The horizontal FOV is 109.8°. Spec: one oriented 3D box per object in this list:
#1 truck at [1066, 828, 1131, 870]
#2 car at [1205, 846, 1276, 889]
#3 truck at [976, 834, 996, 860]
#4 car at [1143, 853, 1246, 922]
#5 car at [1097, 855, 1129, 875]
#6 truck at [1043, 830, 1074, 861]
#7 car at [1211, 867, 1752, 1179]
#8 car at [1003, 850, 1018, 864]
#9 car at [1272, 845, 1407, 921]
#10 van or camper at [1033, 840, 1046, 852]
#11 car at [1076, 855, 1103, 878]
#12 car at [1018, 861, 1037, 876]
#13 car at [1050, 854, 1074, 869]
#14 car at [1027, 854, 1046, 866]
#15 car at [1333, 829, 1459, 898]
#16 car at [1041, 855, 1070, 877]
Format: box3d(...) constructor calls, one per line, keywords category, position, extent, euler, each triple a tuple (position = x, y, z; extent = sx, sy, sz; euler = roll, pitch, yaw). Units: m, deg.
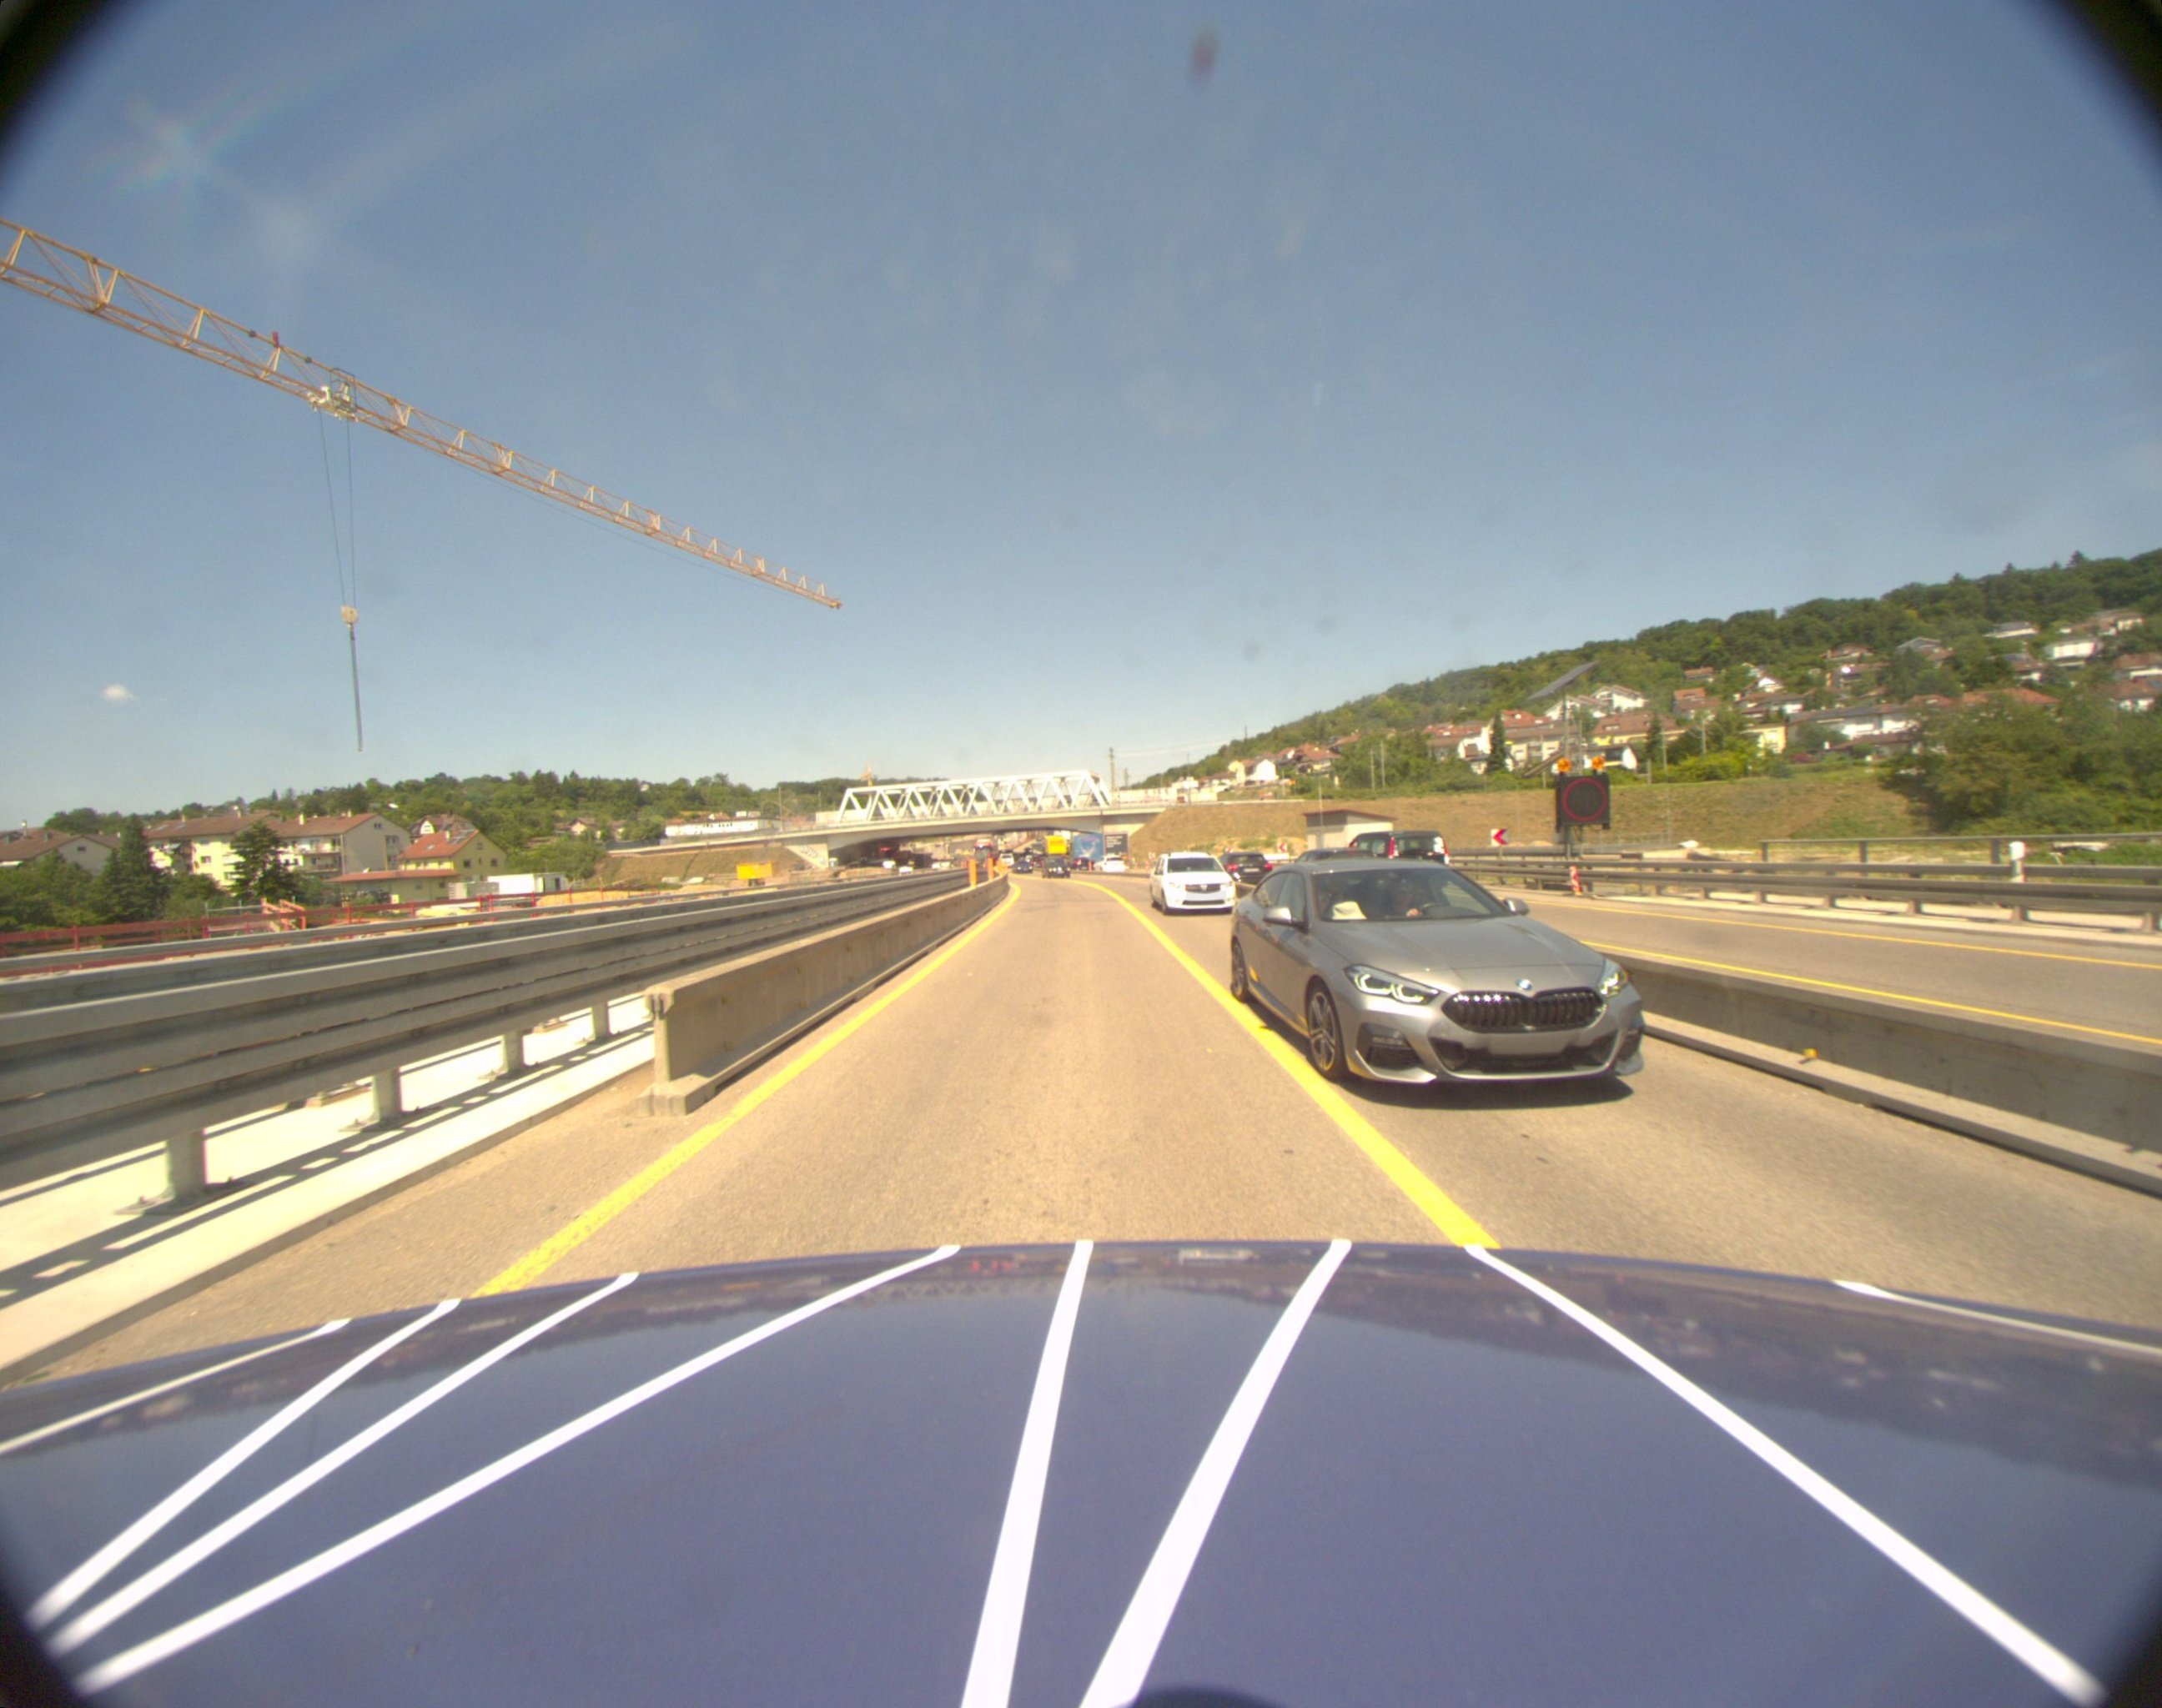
box3d(category="truck", position=(1.577, -0.439, 82.785), extent=(3.271, 4.111, 17.316), euler=(0, 0, -11))
box3d(category="car", position=(5.781, 0.438, 28.023), extent=(1.745, 1.464, 4.084), euler=(0, 1, -1))
box3d(category="truck", position=(-14.153, -0.927, 113.018), extent=(2.704, 3.704, 8.501), euler=(0, 0, -8))
box3d(category="car", position=(2.809, 0.770, 19.905), extent=(1.824, 1.521, 4.705), euler=(-2, 0, -2))
box3d(category="car", position=(2.544, 0.886, 61.376), extent=(2.016, 1.516, 4.192), euler=(-1, 0, -5))
box3d(category="truck", position=(-3.582, -1.238, 116.497), extent=(3.176, 4.531, 12.075), euler=(0, 0, -9))
box3d(category="car", position=(2.411, 0.887, 6.171), extent=(1.856, 1.443, 4.742), euler=(-2, 0, 0))
box3d(category="car", position=(-9.783, 0.426, 105.861), extent=(1.793, 1.870, 3.998), euler=(-4, 0, -8))
box3d(category="car", position=(5.912, 0.600, 17.881), extent=(1.745, 1.573, 4.085), euler=(0, 0, -1))
box3d(category="van or camper", position=(-8.086, -1.578, 147.547), extent=(2.331, 2.068, 5.426), euler=(-2, 1, -1))
box3d(category="car", position=(0.743, 1.150, 71.888), extent=(2.000, 2.002, 3.997), euler=(-2, 1, -7))
box3d(category="car", position=(-6.117, 1.640, 86.197), extent=(1.793, 1.578, 3.997), euler=(-4, 0, -8))
box3d(category="car", position=(-1.982, 0.726, 77.747), extent=(1.907, 1.453, 4.191), euler=(0, 0, -9))
box3d(category="car", position=(-5.758, 0.731, 98.246), extent=(1.908, 1.453, 4.190), euler=(0, 0, -10))
box3d(category="car", position=(9.788, 0.271, 24.114), extent=(1.928, 1.922, 4.938), euler=(-1, 0, 0))
box3d(category="car", position=(-2.094, 0.978, 61.951), extent=(1.863, 1.683, 4.094), euler=(-1, 0, -9))
